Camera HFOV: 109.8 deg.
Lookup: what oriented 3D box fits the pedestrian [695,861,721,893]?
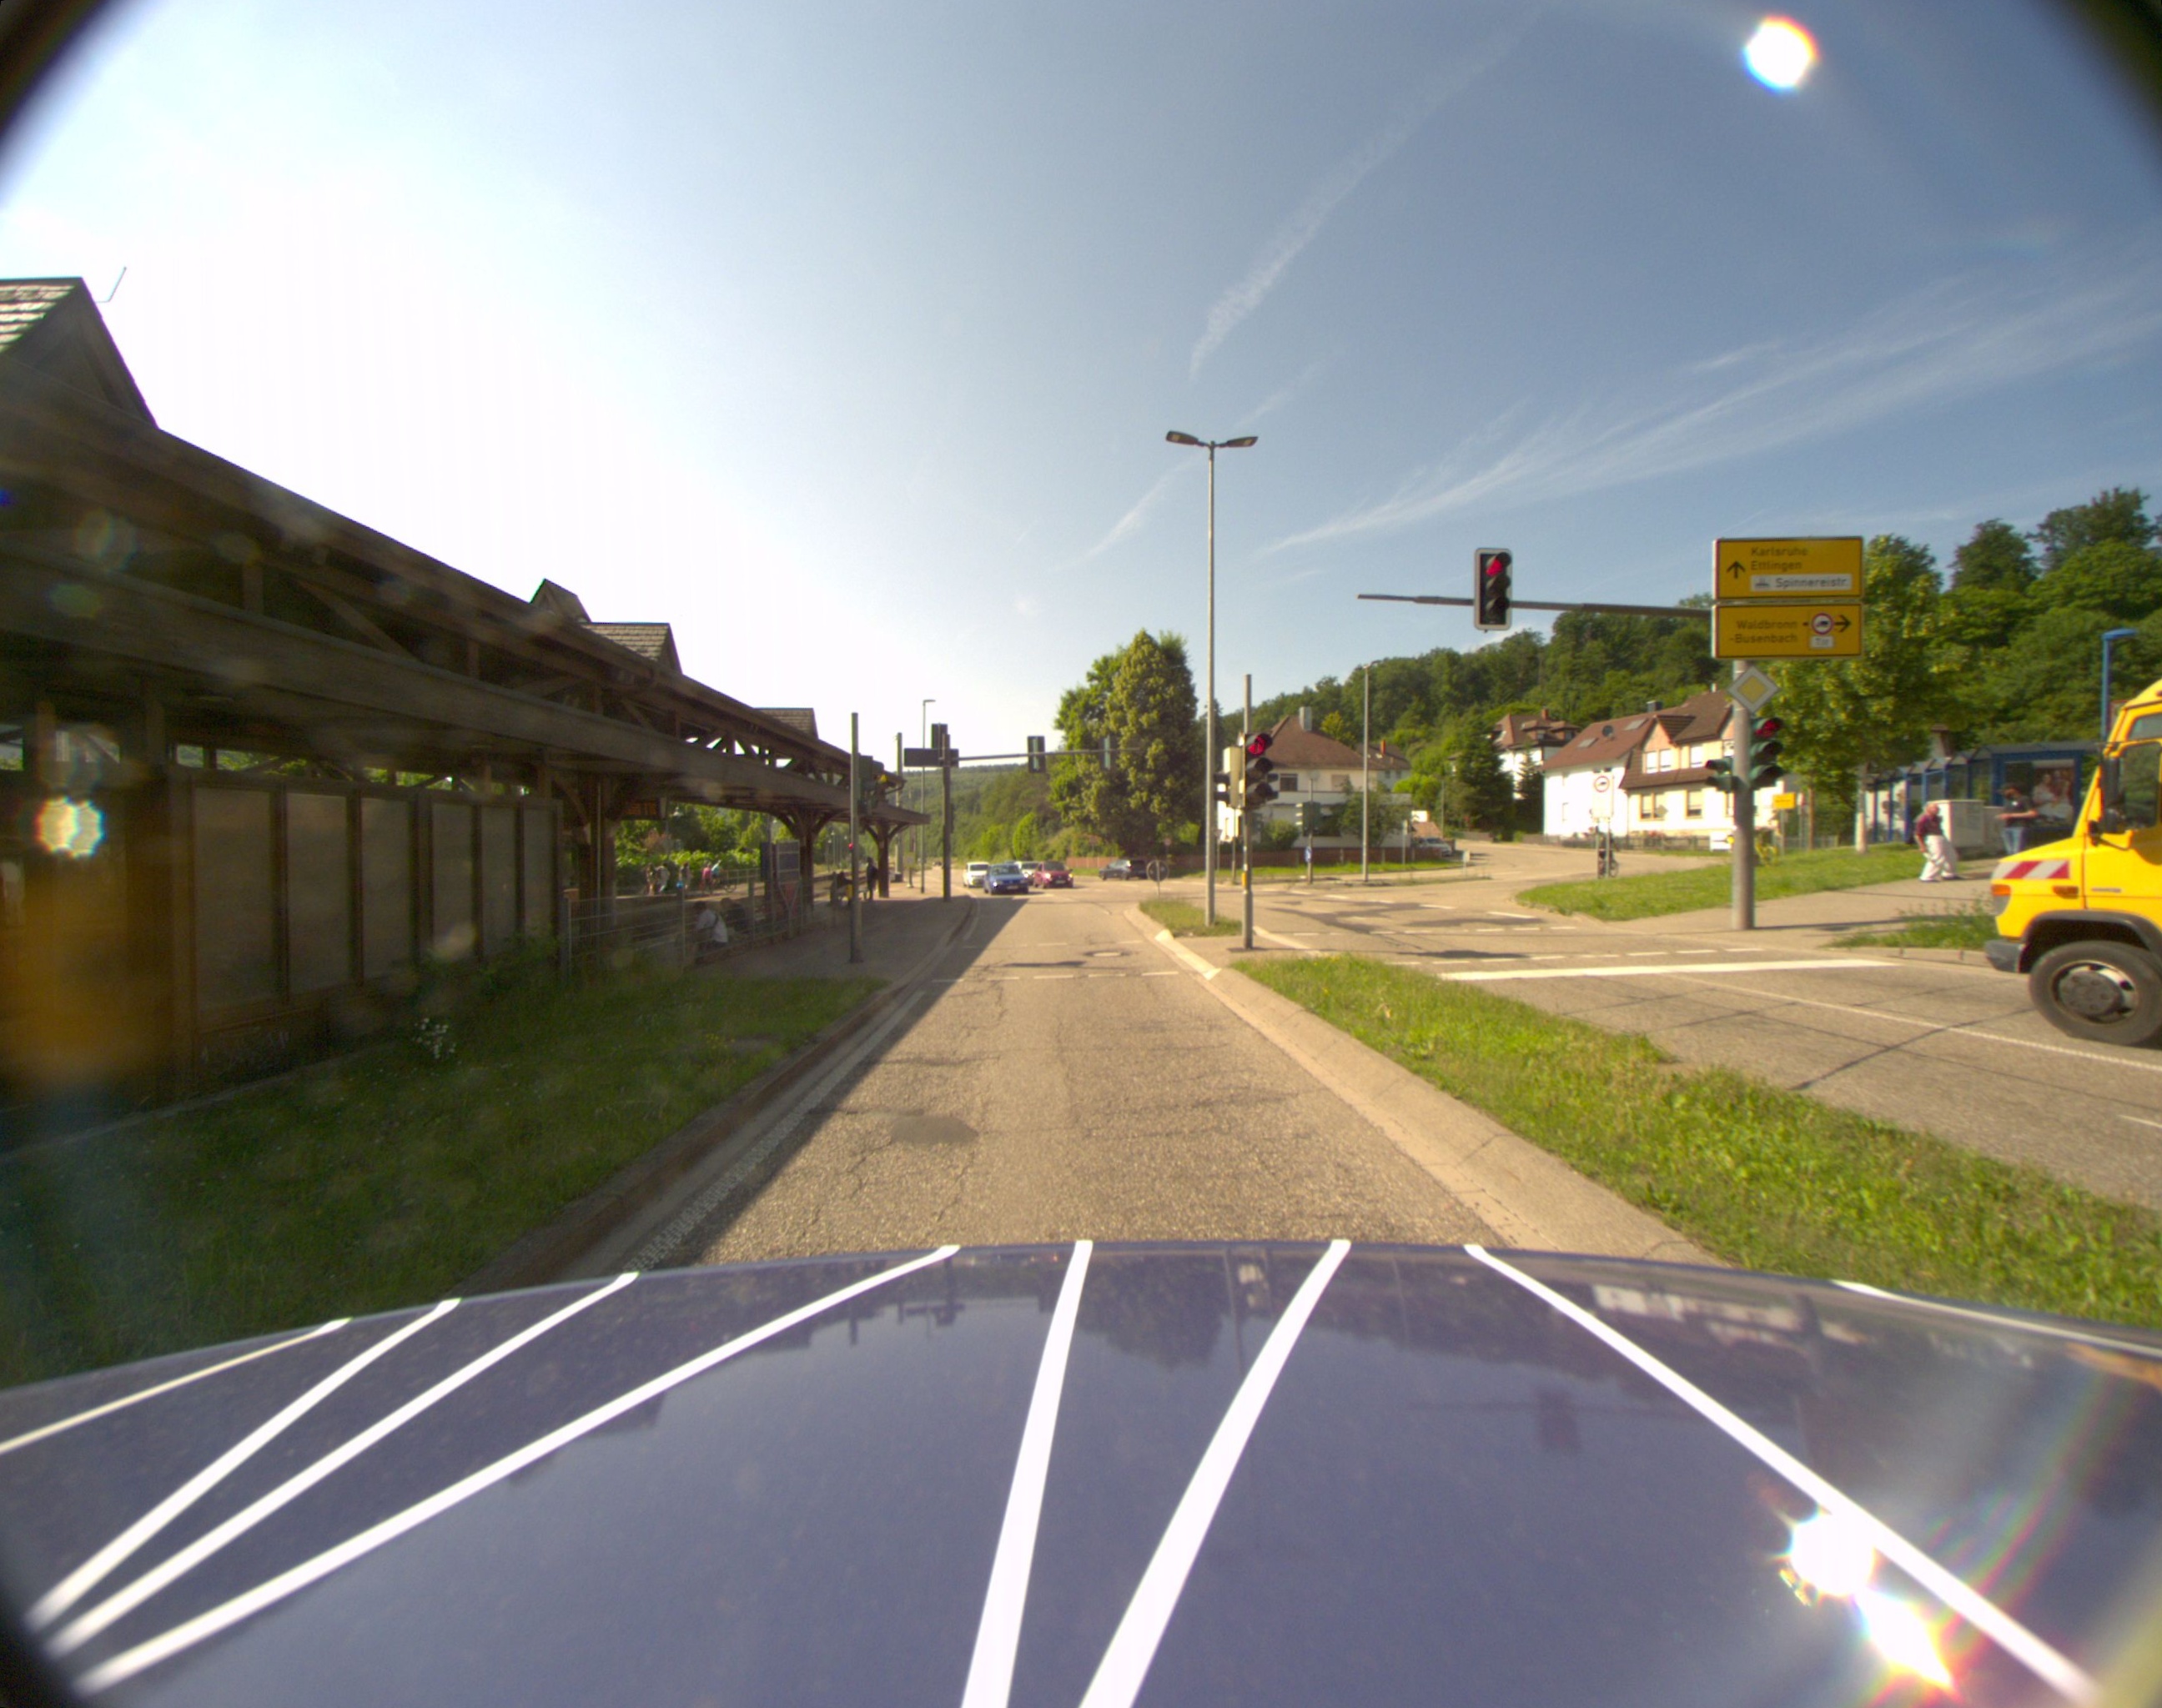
[{"bbox_3d":[-20.363,1.270,41.500,0.902,1.674,0.824,-3,0,28],"label":"pedestrian"}]

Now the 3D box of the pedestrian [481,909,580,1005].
[{"bbox_3d":[-7.046,1.295,9.758,0.744,1.110,0.667,-3,0,-5],"label":"pedestrian"}]

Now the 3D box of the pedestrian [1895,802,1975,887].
[{"bbox_3d":[17.472,-0.187,15.567,0.712,1.667,0.741,-3,0,-2],"label":"pedestrian"}]

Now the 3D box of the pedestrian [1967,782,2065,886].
[{"bbox_3d":[18.134,-0.375,14.753,0.741,1.897,0.857,-5,1,-4],"label":"pedestrian"}]

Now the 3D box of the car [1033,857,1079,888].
[{"bbox_3d":[-1.420,0.975,41.223,1.663,1.525,3.950,-2,0,-14],"label":"car"}]

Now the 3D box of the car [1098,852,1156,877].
[{"bbox_3d":[3.023,0.717,50.745,2.002,1.499,3.992,-3,-1,-27],"label":"car"}]

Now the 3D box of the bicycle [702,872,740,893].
[{"bbox_3d":[-20.574,1.638,43.485,1.814,1.049,0.603,-3,1,-14],"label":"bicycle"}]

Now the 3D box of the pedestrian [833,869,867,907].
[{"bbox_3d":[-7.862,1.162,25.887,0.994,1.228,0.596,-3,0,-12],"label":"pedestrian"}]

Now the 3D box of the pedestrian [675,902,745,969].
[{"bbox_3d":[-6.053,1.315,12.436,0.744,0.976,0.769,-3,0,-5],"label":"pedestrian"}]

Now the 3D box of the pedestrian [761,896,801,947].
[{"bbox_3d":[-6.092,1.368,15.459,0.619,0.960,0.406,-3,0,-5],"label":"pedestrian"}]

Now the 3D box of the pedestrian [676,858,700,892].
[{"bbox_3d":[-19.852,1.066,38.401,0.904,1.674,0.821,-3,0,-21],"label":"pedestrian"}]

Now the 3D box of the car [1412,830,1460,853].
[{"bbox_3d":[27.413,-0.931,58.805,1.938,1.627,4.001,-3,-1,3],"label":"car"}]

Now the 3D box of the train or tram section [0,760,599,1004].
[{"bbox_3d":[-16.566,0.407,17.036,2.864,3.345,14.349,-2,0,-3],"label":"train or tram section"}]

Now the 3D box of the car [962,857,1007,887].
[{"bbox_3d":[-5.869,1.069,45.774,2.001,1.576,3.995,-3,0,-16],"label":"car"}]

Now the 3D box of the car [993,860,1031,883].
[{"bbox_3d":[-4.990,1.237,54.584,1.982,1.495,3.982,-3,-1,-16],"label":"car"}]

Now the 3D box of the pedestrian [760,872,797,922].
[{"bbox_3d":[-9.728,1.362,24.464,0.863,1.538,0.922,-1,0,-4],"label":"pedestrian"}]

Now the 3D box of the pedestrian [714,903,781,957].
[{"bbox_3d":[-6.045,1.363,13.809,0.847,0.869,0.807,-3,0,-5],"label":"pedestrian"}]

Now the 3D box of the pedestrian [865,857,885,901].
[{"bbox_3d":[-8.062,0.966,29.735,0.659,1.682,0.738,-1,1,-12],"label":"pedestrian"}]

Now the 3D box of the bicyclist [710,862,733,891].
[{"bbox_3d":[-20.573,1.268,43.510,0.947,1.559,0.786,-3,1,-14],"label":"bicyclist"}]

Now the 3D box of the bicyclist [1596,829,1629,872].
[{"bbox_3d":[21.774,-0.144,31.142,0.995,1.681,0.805,-3,0,-40],"label":"bicyclist"}]

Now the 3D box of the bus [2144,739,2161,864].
[{"bbox_3d":[30.264,-1.512,17.294,2.862,3.691,12.242,-4,-1,34],"label":"bus"}]

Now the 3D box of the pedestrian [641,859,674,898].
[{"bbox_3d":[-20.945,1.214,37.615,0.989,1.832,1.074,-2,-1,1],"label":"pedestrian"}]

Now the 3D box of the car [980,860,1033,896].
[{"bbox_3d":[-3.541,1.070,35.515,1.867,1.474,4.296,-1,0,-14],"label":"car"}]

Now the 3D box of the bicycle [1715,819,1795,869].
[{"bbox_3d":[18.898,-0.249,21.363,0.620,1.247,1.758,-6,-2,3],"label":"bicycle"}]

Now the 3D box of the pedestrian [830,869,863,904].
[{"bbox_3d":[-8.328,1.151,27.050,1.010,1.153,0.948,-2,1,-12],"label":"pedestrian"}]

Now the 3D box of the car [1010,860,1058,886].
[{"bbox_3d":[-3.010,1.177,47.286,1.982,1.495,4.745,-3,-1,-16],"label":"car"}]

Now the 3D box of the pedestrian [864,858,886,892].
[{"bbox_3d":[-10.781,1.086,39.874,0.917,1.726,1.250,-3,0,-10],"label":"pedestrian"}]

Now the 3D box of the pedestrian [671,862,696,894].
[{"bbox_3d":[-21.565,1.287,41.273,0.868,1.674,0.822,-3,0,-5],"label":"pedestrian"}]

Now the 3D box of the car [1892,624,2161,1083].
[{"bbox_3d":[8.351,-0.038,3.327,2.474,2.993,6.464,-3,1,-3],"label":"car"}]

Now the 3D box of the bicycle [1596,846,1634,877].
[{"bbox_3d":[21.966,0.312,31.264,2.003,1.155,0.733,-3,-1,-40],"label":"bicycle"}]
